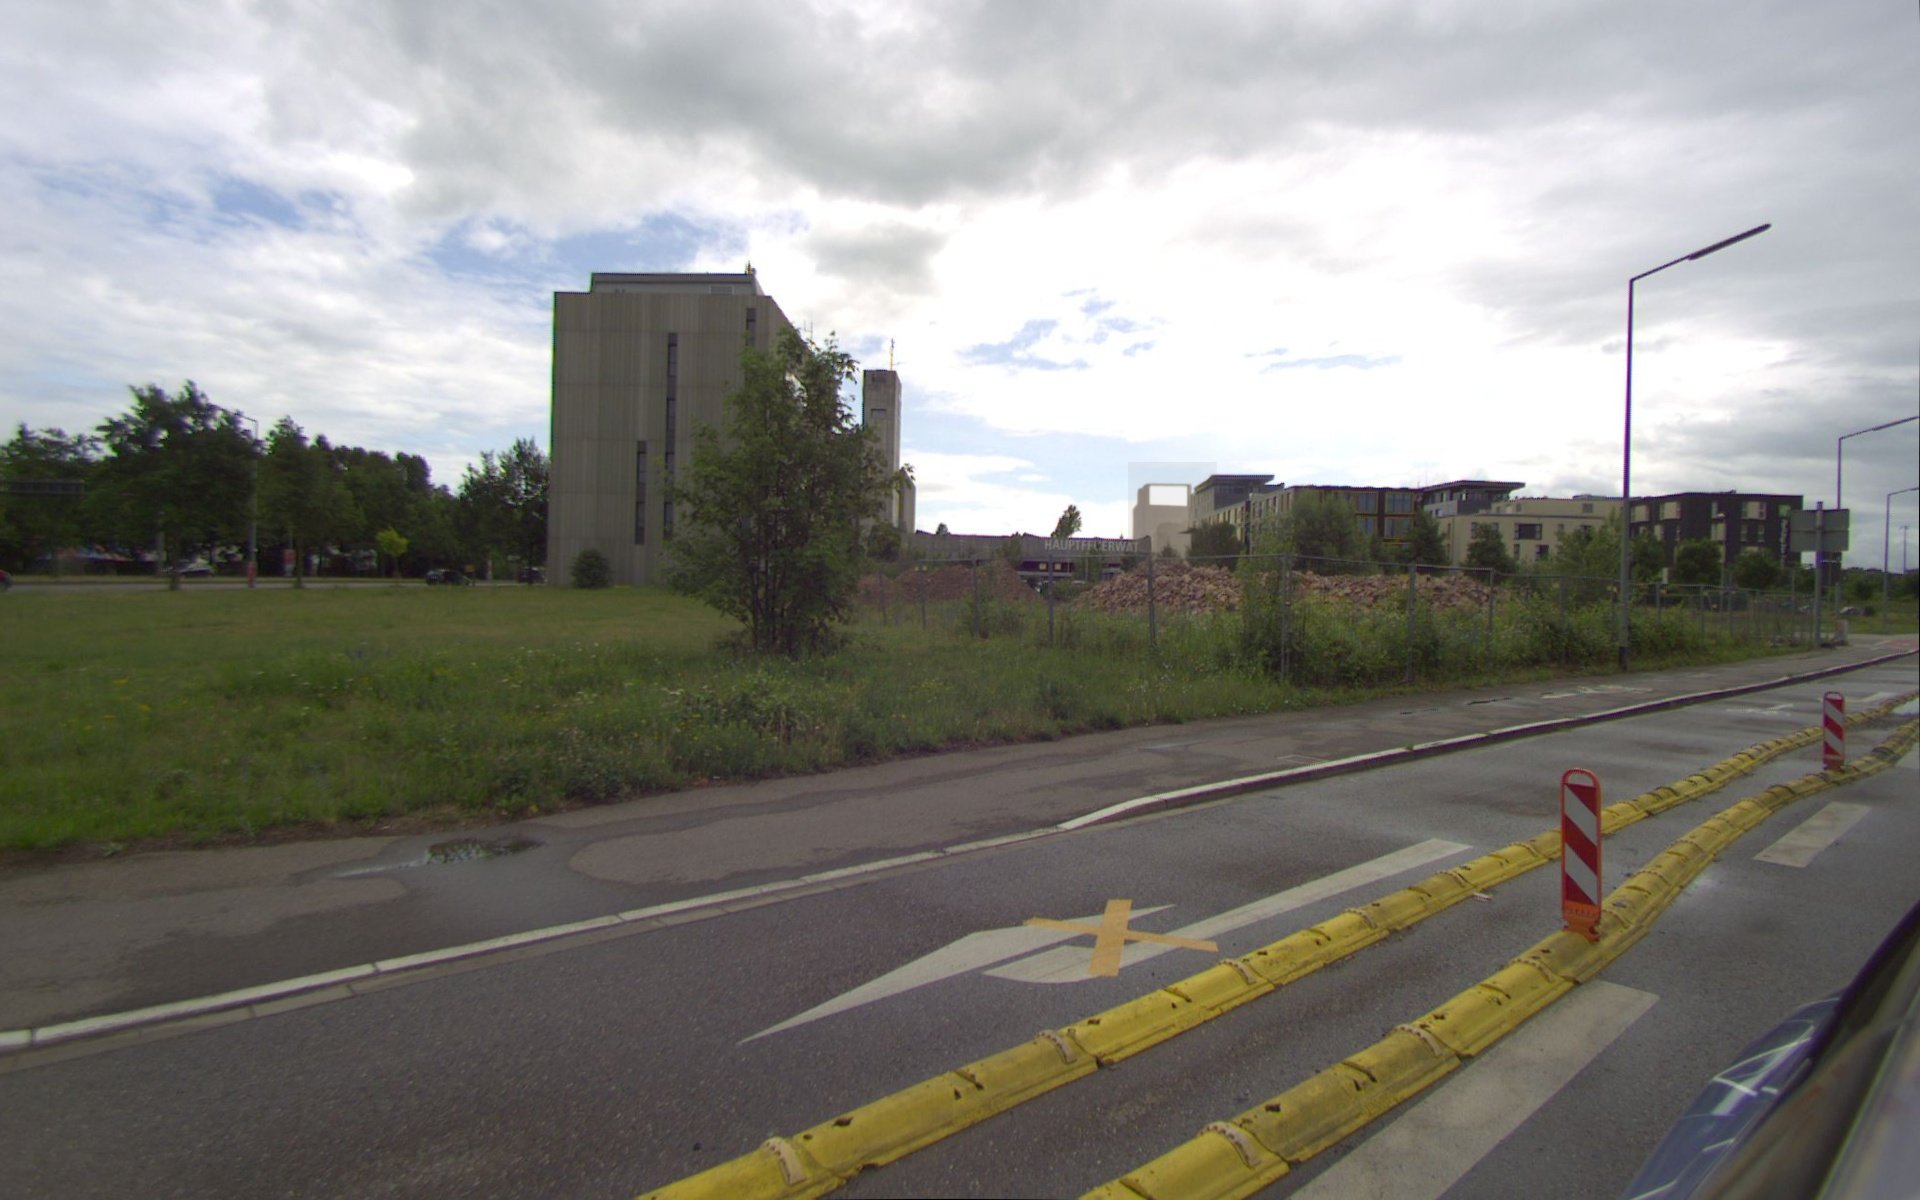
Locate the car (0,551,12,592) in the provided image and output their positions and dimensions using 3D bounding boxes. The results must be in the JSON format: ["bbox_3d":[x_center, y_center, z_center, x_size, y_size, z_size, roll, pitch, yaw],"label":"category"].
[{"bbox_3d":[-46.004,-1.347,45.888,2.075,1.941,4.209,1,1,-1],"label":"car"}]

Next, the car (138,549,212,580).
[{"bbox_3d":[-53.615,-2.411,69.202,1.962,2.039,4.000,1,1,0],"label":"car"}]

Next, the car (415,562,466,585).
[{"bbox_3d":[-42.648,-2.169,83.145,2.038,1.836,4.209,1,1,-1],"label":"car"}]

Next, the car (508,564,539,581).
[{"bbox_3d":[-49.311,-3.092,114.348,1.827,1.804,4.002,1,1,-1],"label":"car"}]

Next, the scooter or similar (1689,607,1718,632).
[{"bbox_3d":[36.829,0.967,50.134,0.437,1.200,1.327,1,1,-1],"label":"scooter or similar"}]

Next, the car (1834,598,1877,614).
[{"bbox_3d":[123.197,0.859,139.265,3.925,2.039,2.000,2,1,1],"label":"car"}]
